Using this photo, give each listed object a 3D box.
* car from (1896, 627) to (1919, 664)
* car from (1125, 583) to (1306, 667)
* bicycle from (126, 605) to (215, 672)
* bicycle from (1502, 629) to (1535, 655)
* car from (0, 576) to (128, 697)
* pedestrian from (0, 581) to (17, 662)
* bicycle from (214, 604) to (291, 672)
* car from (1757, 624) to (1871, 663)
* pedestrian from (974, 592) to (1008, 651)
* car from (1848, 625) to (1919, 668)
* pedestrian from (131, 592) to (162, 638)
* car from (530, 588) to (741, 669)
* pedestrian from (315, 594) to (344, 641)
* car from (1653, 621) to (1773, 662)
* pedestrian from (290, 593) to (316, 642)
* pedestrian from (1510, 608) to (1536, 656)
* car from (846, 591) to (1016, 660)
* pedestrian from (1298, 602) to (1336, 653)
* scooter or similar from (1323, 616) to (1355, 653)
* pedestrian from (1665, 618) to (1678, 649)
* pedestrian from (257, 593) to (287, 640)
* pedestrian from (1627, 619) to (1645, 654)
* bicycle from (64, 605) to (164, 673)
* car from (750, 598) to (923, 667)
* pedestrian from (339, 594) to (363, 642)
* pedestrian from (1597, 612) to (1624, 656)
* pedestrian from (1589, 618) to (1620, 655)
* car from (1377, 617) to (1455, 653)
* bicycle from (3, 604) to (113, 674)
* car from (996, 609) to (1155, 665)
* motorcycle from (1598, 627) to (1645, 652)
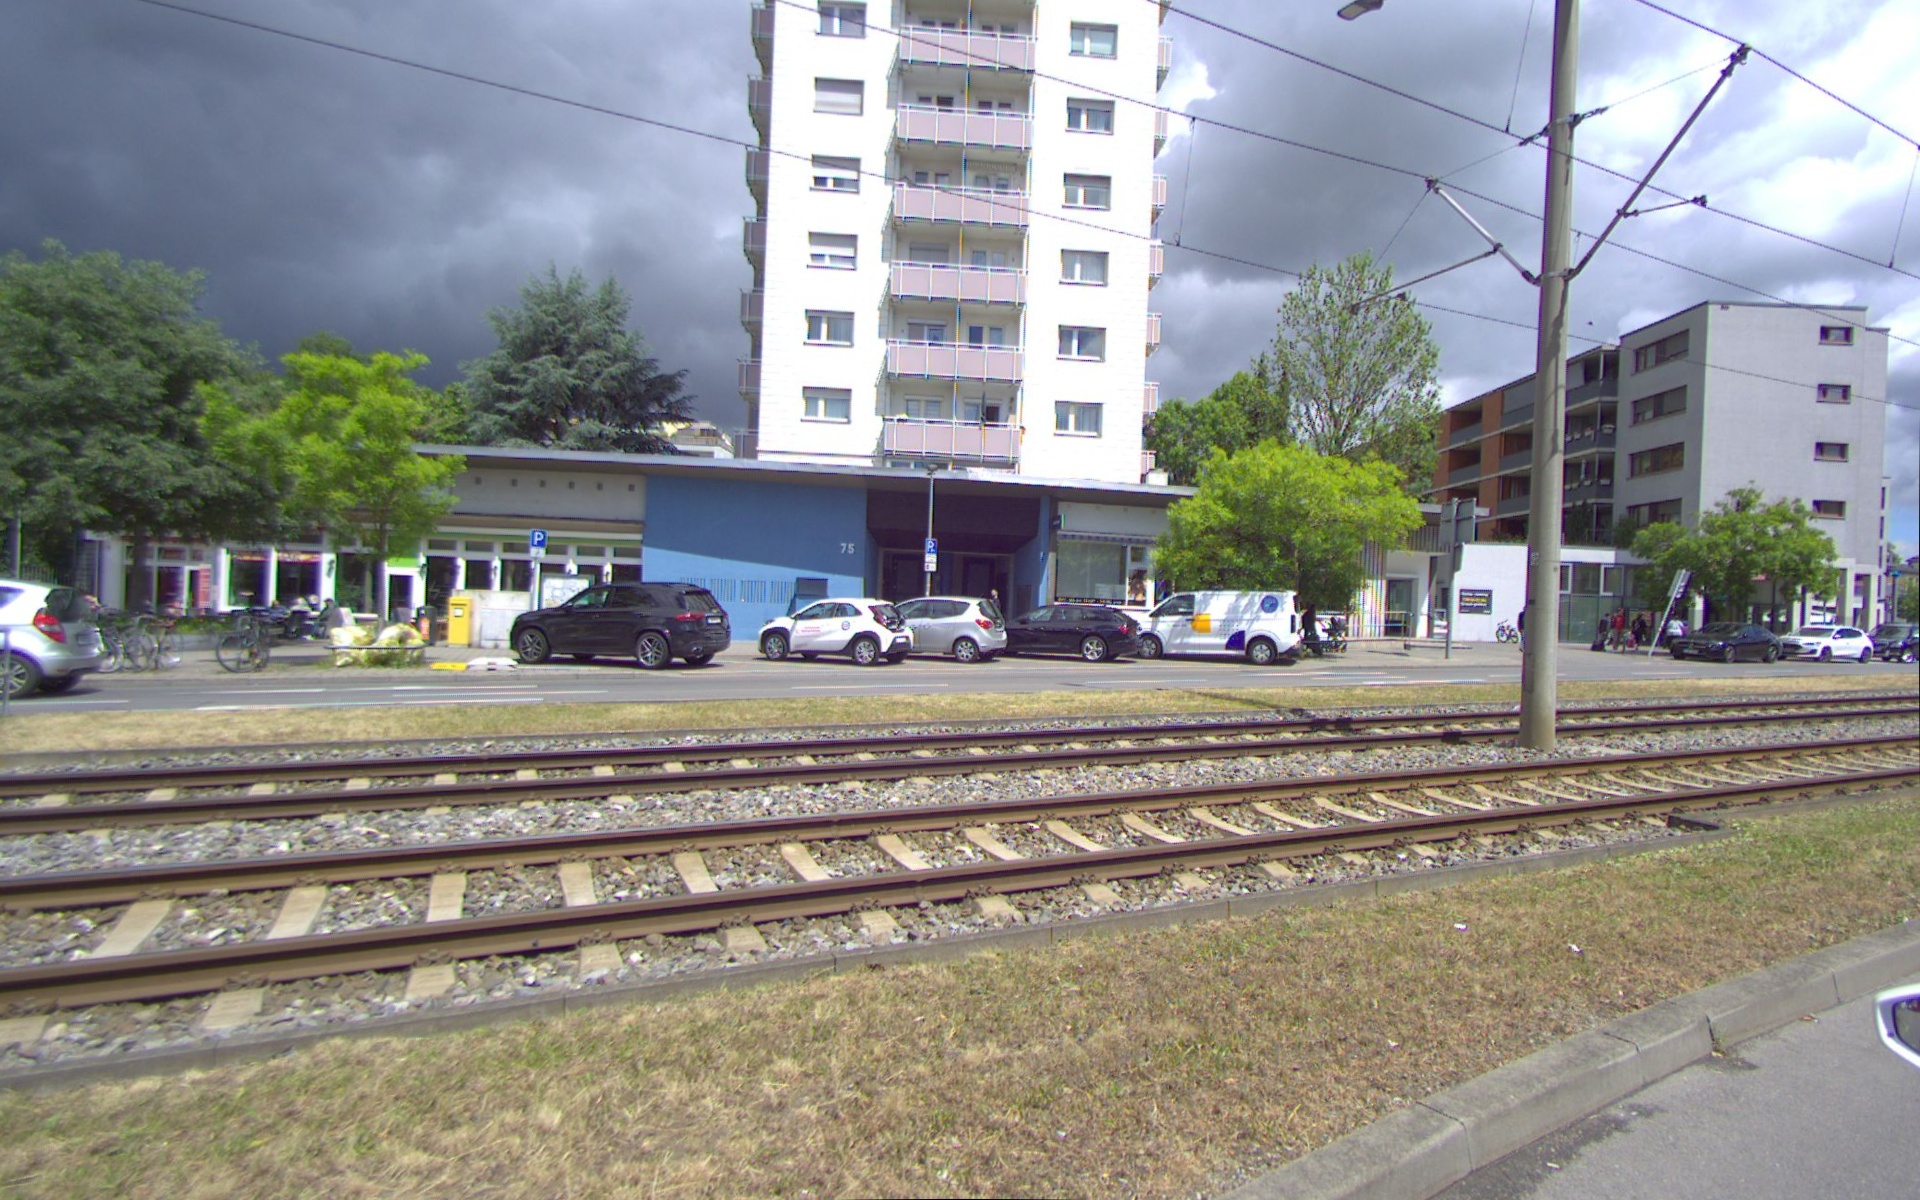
[{"bbox_3d":[45.236,2.083,46.116,4.044,1.670,1.988,1,-1,-25],"label":"car"},{"bbox_3d":[7.133,0.663,28.017,4.669,2.185,1.906,0,-1,22],"label":"car"},{"bbox_3d":[-13.672,0.642,17.465,0.695,1.080,2.419,1,-1,-26],"label":"bicycle"},{"bbox_3d":[27.591,2.047,49.642,0.656,1.228,1.974,1,-1,4],"label":"bicycle"},{"bbox_3d":[-13.660,0.453,13.270,3.701,1.553,1.814,1,-1,-24],"label":"car"},{"bbox_3d":[-19.783,0.435,20.553,0.593,1.665,0.415,1,-1,-29],"label":"pedestrian"},{"bbox_3d":[-12.484,0.643,17.797,0.707,1.048,2.419,1,1,-26],"label":"bicycle"},{"bbox_3d":[34.658,1.733,40.768,4.336,1.495,1.751,1,-1,-22],"label":"car"},{"bbox_3d":[0.986,0.688,31.927,0.876,1.845,0.769,1,-1,-15],"label":"pedestrian"},{"bbox_3d":[40.405,1.970,43.282,4.051,1.685,1.984,1,1,-30],"label":"car"},{"bbox_3d":[-26.421,0.492,32.633,0.515,1.492,0.572,1,-1,6],"label":"pedestrian"},{"bbox_3d":[-6.979,0.589,21.741,3.920,1.612,1.933,0,-1,16],"label":"car"},{"bbox_3d":[-20.169,0.560,32.133,0.515,1.492,0.572,1,-1,3],"label":"pedestrian"},{"bbox_3d":[27.840,1.533,37.123,4.321,1.447,1.729,2,-1,-25],"label":"car"},{"bbox_3d":[-20.277,0.541,31.001,0.564,1.492,0.523,1,-1,-24],"label":"pedestrian"},{"bbox_3d":[21.753,1.219,38.818,0.828,1.816,0.873,0,-1,28],"label":"pedestrian"},{"bbox_3d":[-0.715,0.626,25.748,3.920,1.653,1.907,0,-1,17],"label":"car"},{"bbox_3d":[11.395,0.887,32.110,0.970,1.593,0.513,1,3,-17],"label":"pedestrian"},{"bbox_3d":[12.218,1.100,32.391,0.757,1.140,0.578,0,3,-17],"label":"scooter or similar"},{"bbox_3d":[34.199,1.622,48.301,0.491,1.479,0.559,0,-1,35],"label":"pedestrian"},{"bbox_3d":[-22.051,0.540,32.206,0.515,1.492,0.572,1,-1,6],"label":"pedestrian"},{"bbox_3d":[30.592,1.641,45.445,0.654,1.594,0.686,0,-1,35],"label":"pedestrian"},{"bbox_3d":[-14.338,0.628,17.095,0.695,1.080,2.419,1,-1,-26],"label":"bicycle"},{"bbox_3d":[-2.928,0.740,23.861,3.694,1.516,1.746,0,-1,23],"label":"car"},{"bbox_3d":[-18.878,0.561,31.135,0.564,1.492,0.523,1,-1,-24],"label":"pedestrian"},{"bbox_3d":[27.202,1.406,41.990,0.833,1.816,0.609,1,-1,-28],"label":"pedestrian"},{"bbox_3d":[27.472,1.535,42.822,0.957,1.554,0.601,1,-1,-15],"label":"pedestrian"},{"bbox_3d":[19.746,1.498,43.711,1.959,1.462,4.359,1,-1,8],"label":"car"},{"bbox_3d":[-14.991,0.616,16.769,0.695,1.080,2.419,1,-1,-26],"label":"bicycle"},{"bbox_3d":[3.153,0.962,27.237,3.922,1.402,1.906,0,-1,22],"label":"car"},{"bbox_3d":[33.233,1.971,50.477,0.732,1.194,1.883,1,-1,-29],"label":"motorcycle"}]
